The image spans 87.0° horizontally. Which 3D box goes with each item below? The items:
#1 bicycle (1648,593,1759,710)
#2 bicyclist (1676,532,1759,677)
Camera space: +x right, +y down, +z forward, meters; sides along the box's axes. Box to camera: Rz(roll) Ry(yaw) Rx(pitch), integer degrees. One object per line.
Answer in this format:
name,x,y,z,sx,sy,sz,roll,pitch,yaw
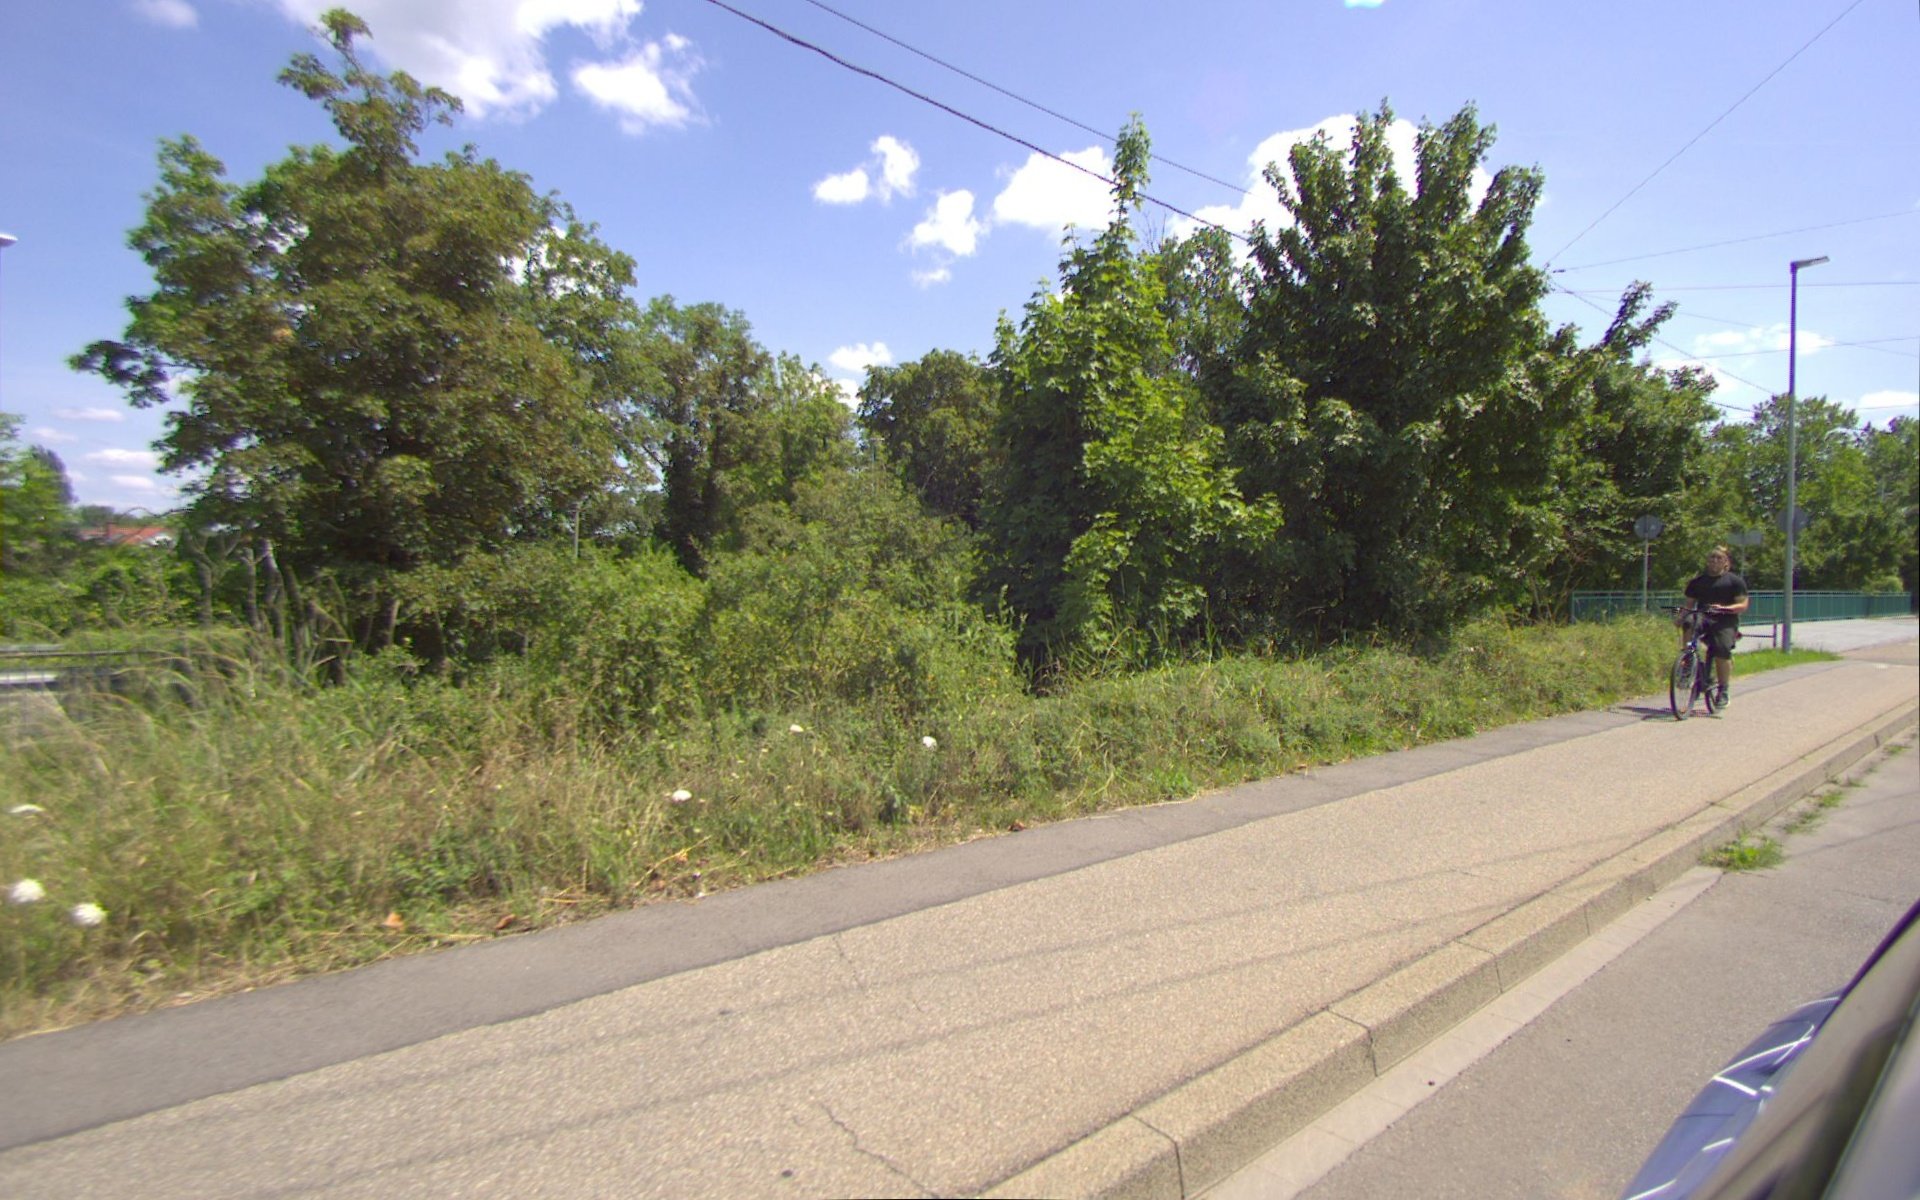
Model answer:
bicycle,7.962,0.526,10.807,1.820,1.167,0.433,1,-1,-36
bicyclist,8.213,0.051,10.983,0.547,1.514,0.587,2,-2,-36
